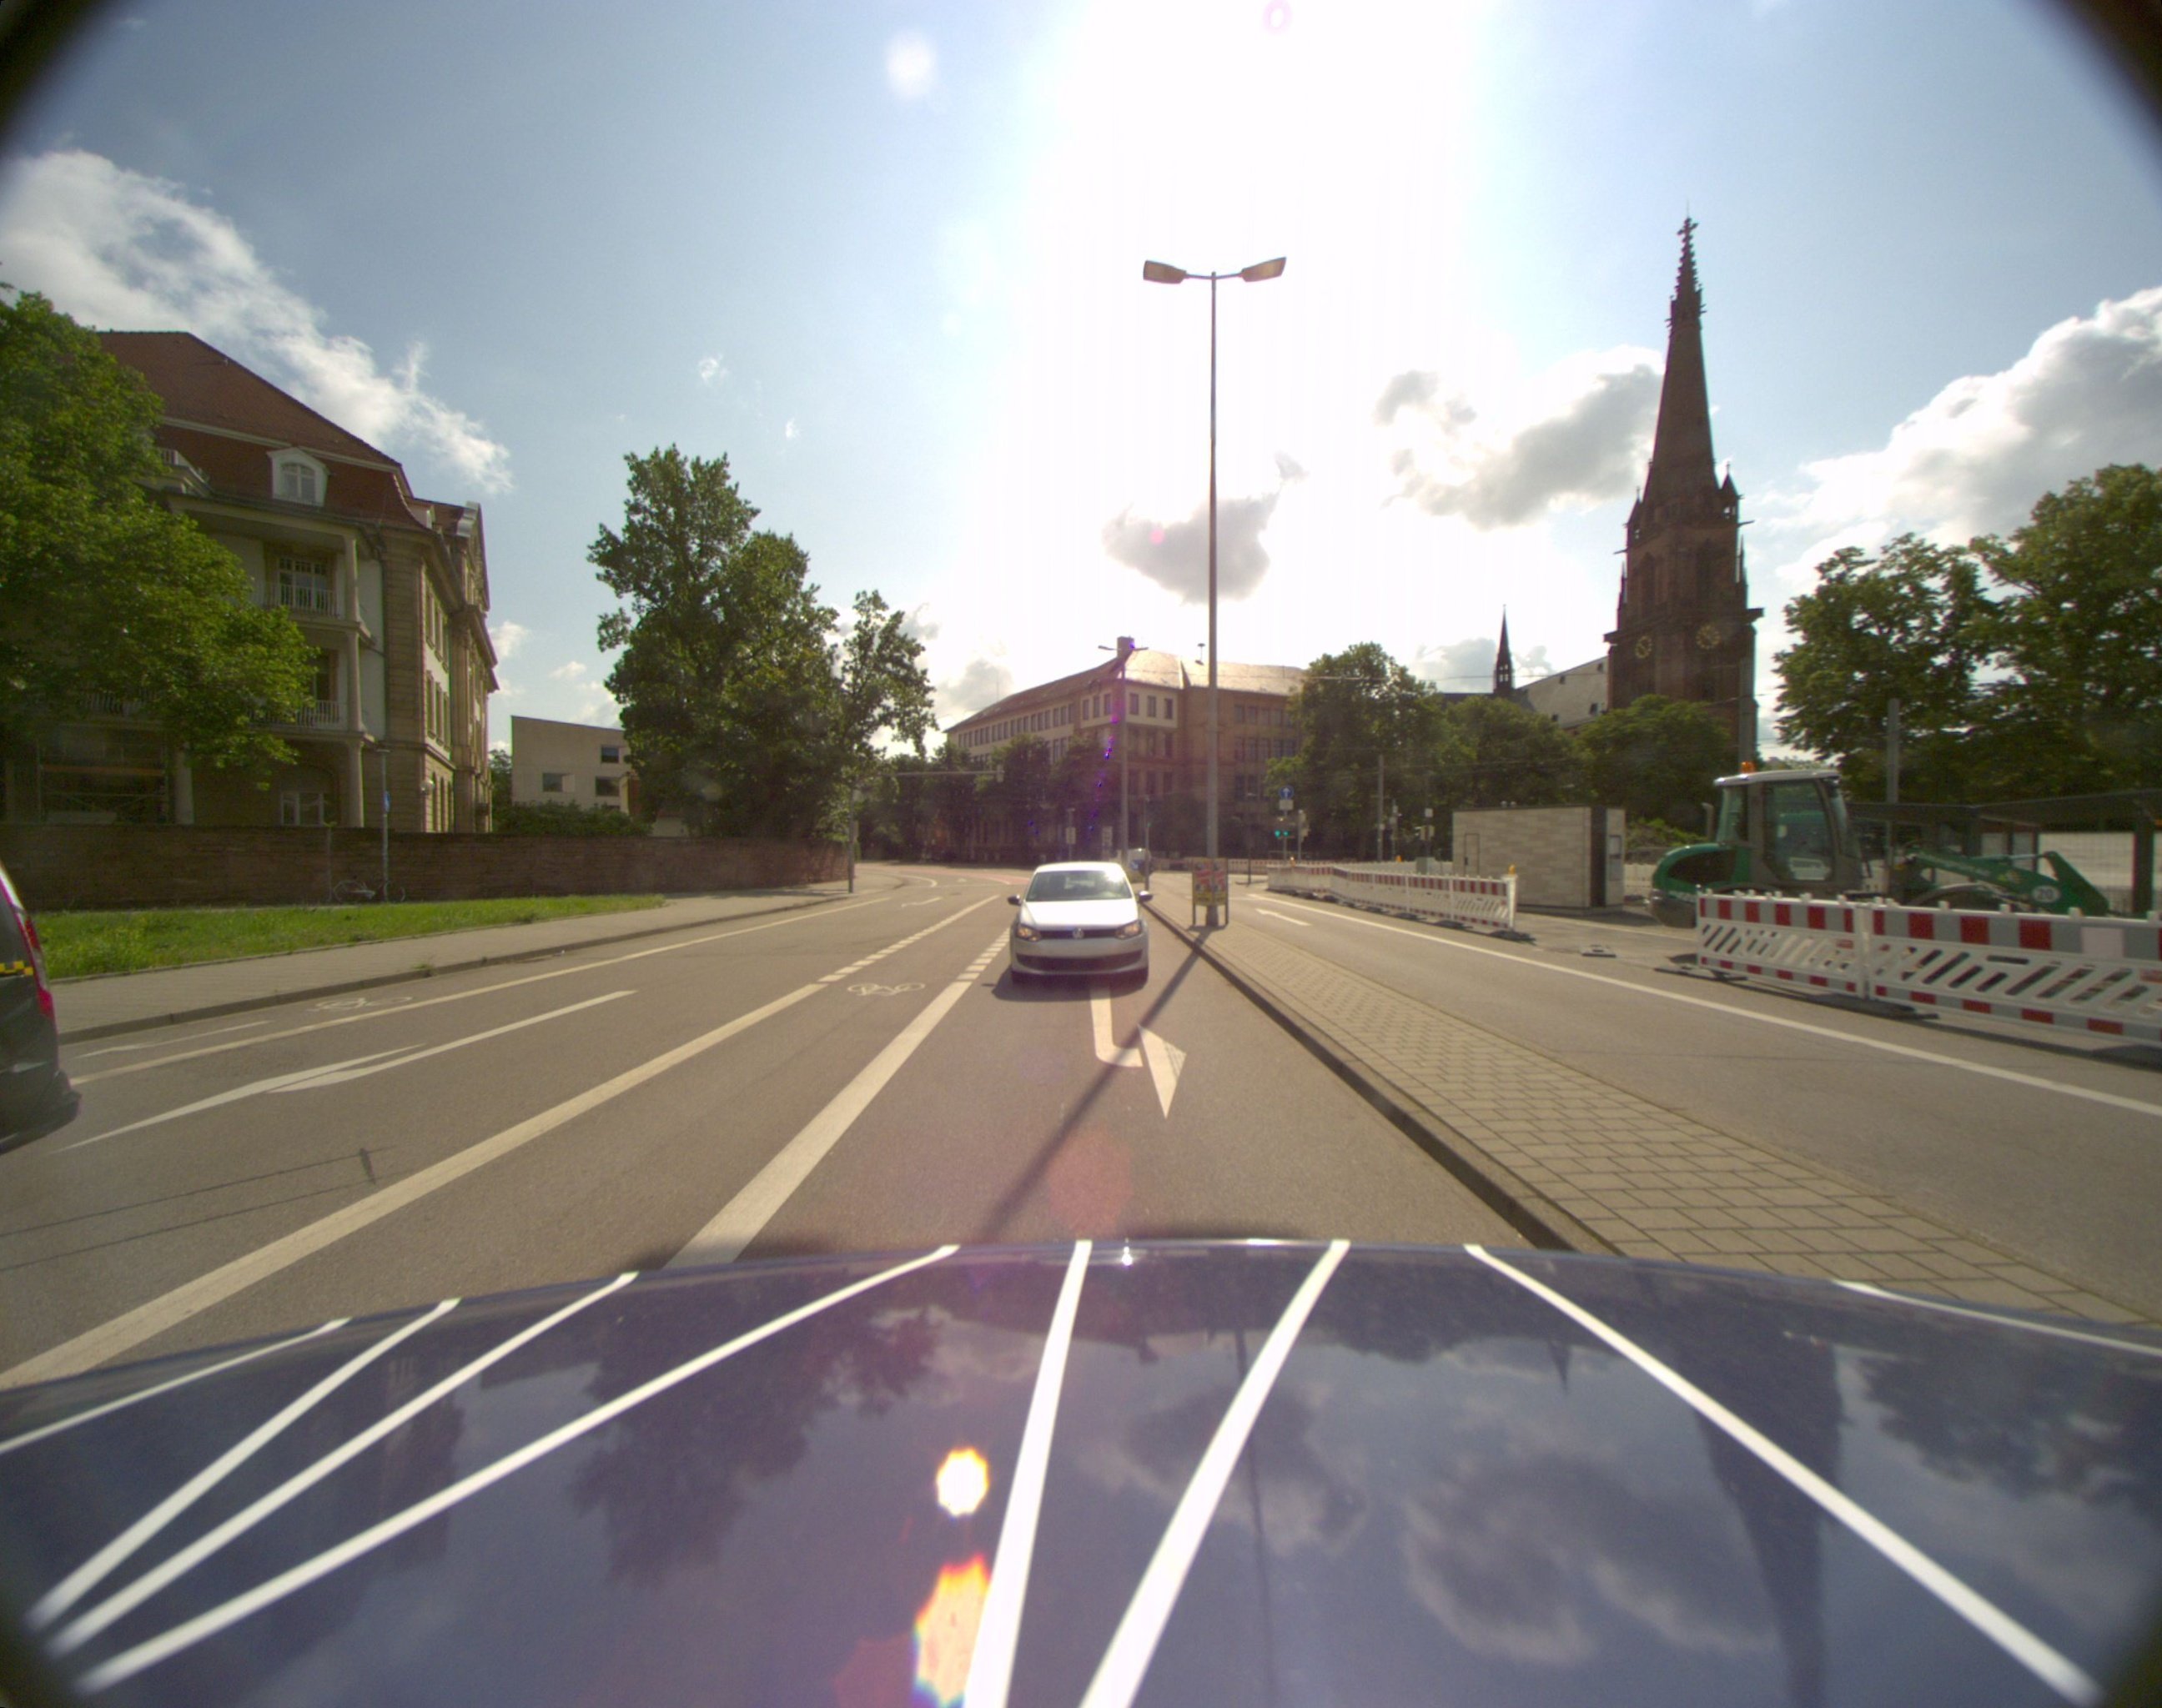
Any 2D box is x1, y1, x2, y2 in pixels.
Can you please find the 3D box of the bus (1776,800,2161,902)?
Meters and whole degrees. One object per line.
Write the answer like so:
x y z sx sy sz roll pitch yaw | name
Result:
33.782 -0.143 27.717 2.999 3.243 12.043 0 1 -35 | bus

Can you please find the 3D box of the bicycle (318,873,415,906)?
-21.337 1.036 22.729 0.856 0.856 2.065 4 3 44 | bicycle

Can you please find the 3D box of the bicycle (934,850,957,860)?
-18.206 0.103 102.194 2.891 1.200 1.050 0 4 8 | bicycle

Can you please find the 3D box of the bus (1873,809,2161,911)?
31.968 0.151 25.072 2.378 3.040 7.742 0 1 -35 | bus

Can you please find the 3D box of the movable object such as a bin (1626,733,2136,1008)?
10.420 0.154 10.409 2.004 2.932 4.437 0 1 -43 | movable object such as a bin

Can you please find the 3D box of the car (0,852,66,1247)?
-5.882 0.915 1.312 1.853 1.775 4.672 -1 0 2 | car

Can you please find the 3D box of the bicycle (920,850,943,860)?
-20.545 0.148 104.398 2.891 1.200 1.073 0 4 8 | bicycle

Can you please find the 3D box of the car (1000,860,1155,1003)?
-0.045 0.872 10.343 1.655 1.433 4.004 -2 1 0 | car
